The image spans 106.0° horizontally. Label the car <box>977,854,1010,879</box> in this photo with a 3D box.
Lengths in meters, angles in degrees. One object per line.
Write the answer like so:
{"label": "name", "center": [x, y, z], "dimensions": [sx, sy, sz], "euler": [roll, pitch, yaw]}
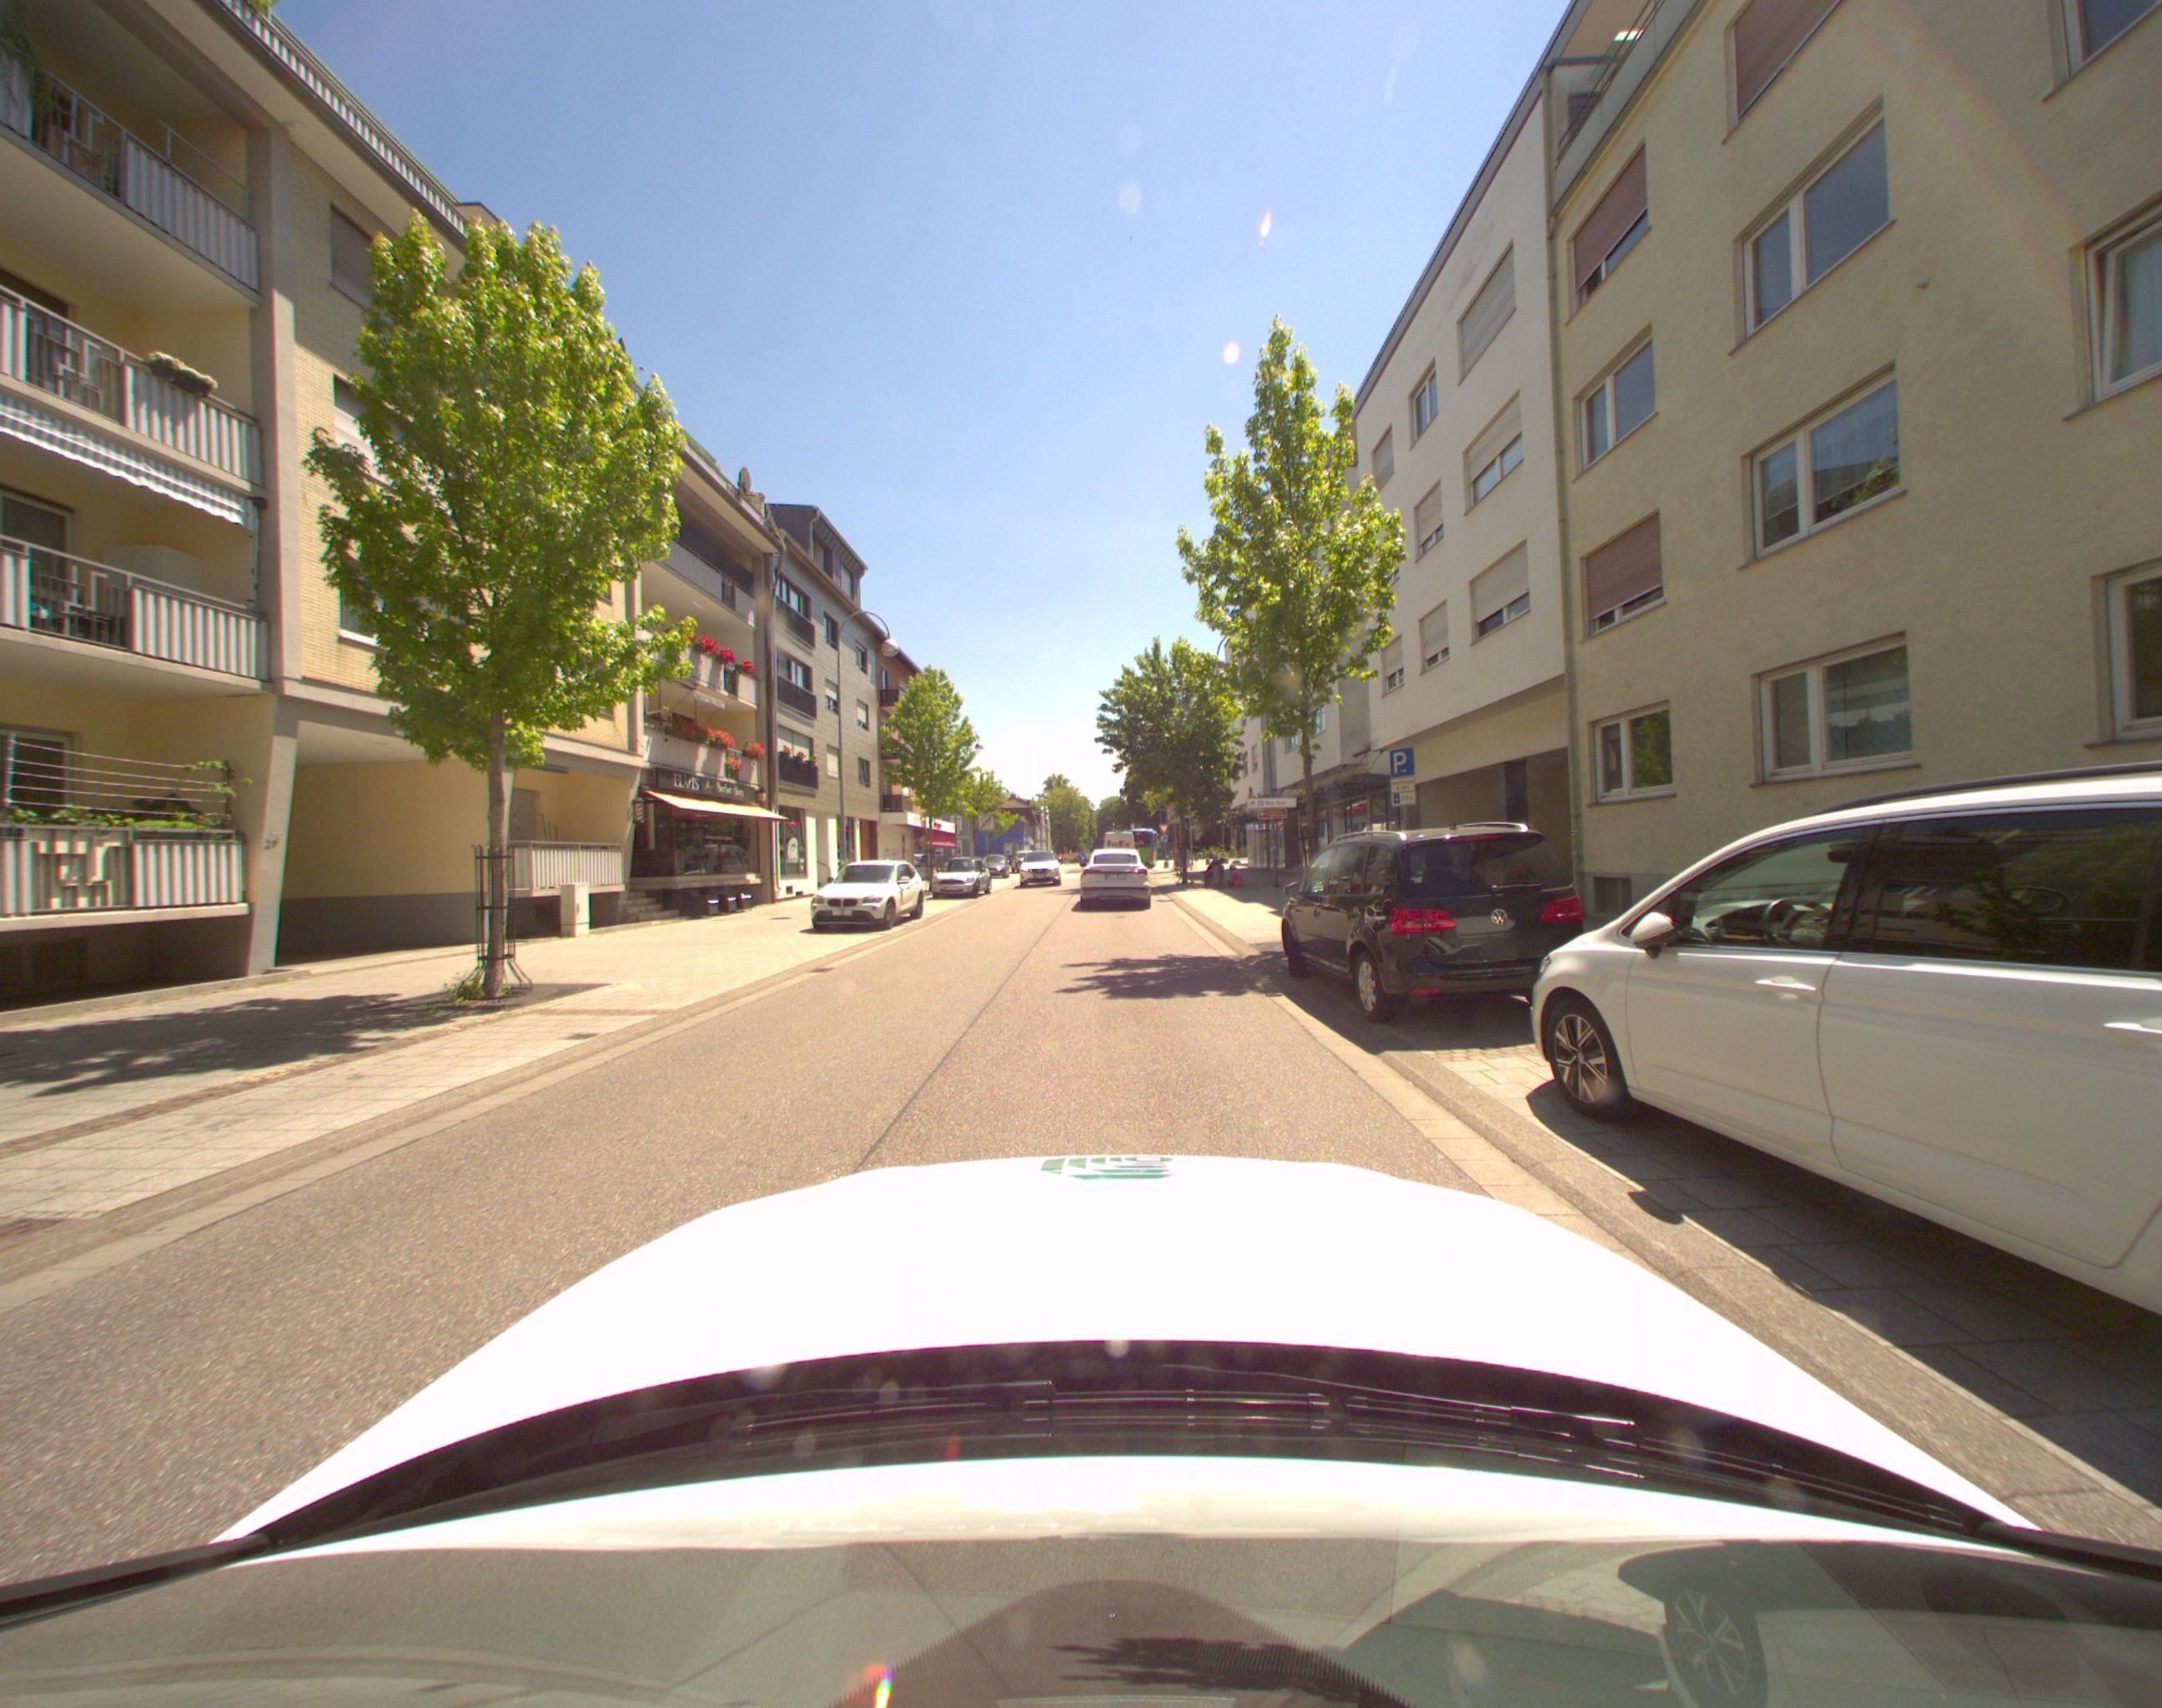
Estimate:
{"label": "car", "center": [-5.537, 0.762, 51.905], "dimensions": [1.834, 1.495, 3.995], "euler": [-2, 0, -3]}

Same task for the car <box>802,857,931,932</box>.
{"label": "car", "center": [-5.055, 0.877, 19.835], "dimensions": [1.745, 1.618, 4.404], "euler": [0, 0, 3]}

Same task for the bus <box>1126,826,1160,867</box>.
{"label": "bus", "center": [5.173, -0.574, 68.061], "dimensions": [2.648, 3.221, 7.310], "euler": [0, 0, 4]}

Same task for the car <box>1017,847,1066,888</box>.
{"label": "car", "center": [-1.751, 0.598, 37.506], "dimensions": [1.849, 1.692, 4.151], "euler": [-3, 0, 1]}

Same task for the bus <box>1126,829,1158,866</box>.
{"label": "bus", "center": [5.571, -0.533, 75.373], "dimensions": [2.650, 3.210, 7.455], "euler": [-1, 0, 2]}

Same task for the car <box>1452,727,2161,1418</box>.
{"label": "car", "center": [3.514, 0.478, 3.170], "dimensions": [1.890, 1.674, 4.689], "euler": [-4, 0, -1]}

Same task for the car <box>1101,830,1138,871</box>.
{"label": "car", "center": [2.339, -0.185, 50.357], "dimensions": [2.148, 2.442, 5.286], "euler": [0, 0, 2]}

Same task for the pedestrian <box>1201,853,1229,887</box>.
{"label": "pedestrian", "center": [4.976, 0.585, 30.251], "dimensions": [0.903, 1.236, 0.648], "euler": [-2, 0, 1]}

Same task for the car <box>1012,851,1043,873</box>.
{"label": "car", "center": [-4.426, 0.659, 66.837], "dimensions": [1.867, 1.757, 3.981], "euler": [0, 0, -13]}

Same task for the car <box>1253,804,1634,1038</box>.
{"label": "car", "center": [3.270, 0.515, 8.524], "dimensions": [1.850, 1.674, 4.535], "euler": [-4, 0, -1]}

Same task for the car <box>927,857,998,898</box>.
{"label": "car", "center": [-4.371, 0.830, 30.694], "dimensions": [1.745, 1.453, 4.405], "euler": [0, 0, 4]}

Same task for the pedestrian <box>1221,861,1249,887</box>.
{"label": "pedestrian", "center": [5.622, 0.728, 29.763], "dimensions": [0.901, 0.879, 0.649], "euler": [-2, 0, 6]}

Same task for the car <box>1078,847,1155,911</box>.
{"label": "car", "center": [0.962, 0.659, 23.171], "dimensions": [1.987, 1.633, 4.000], "euler": [-1, 0, 1]}

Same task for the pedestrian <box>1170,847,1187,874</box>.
{"label": "pedestrian", "center": [5.516, 0.352, 46.074], "dimensions": [0.583, 1.502, 0.714], "euler": [-2, 0, -22]}
